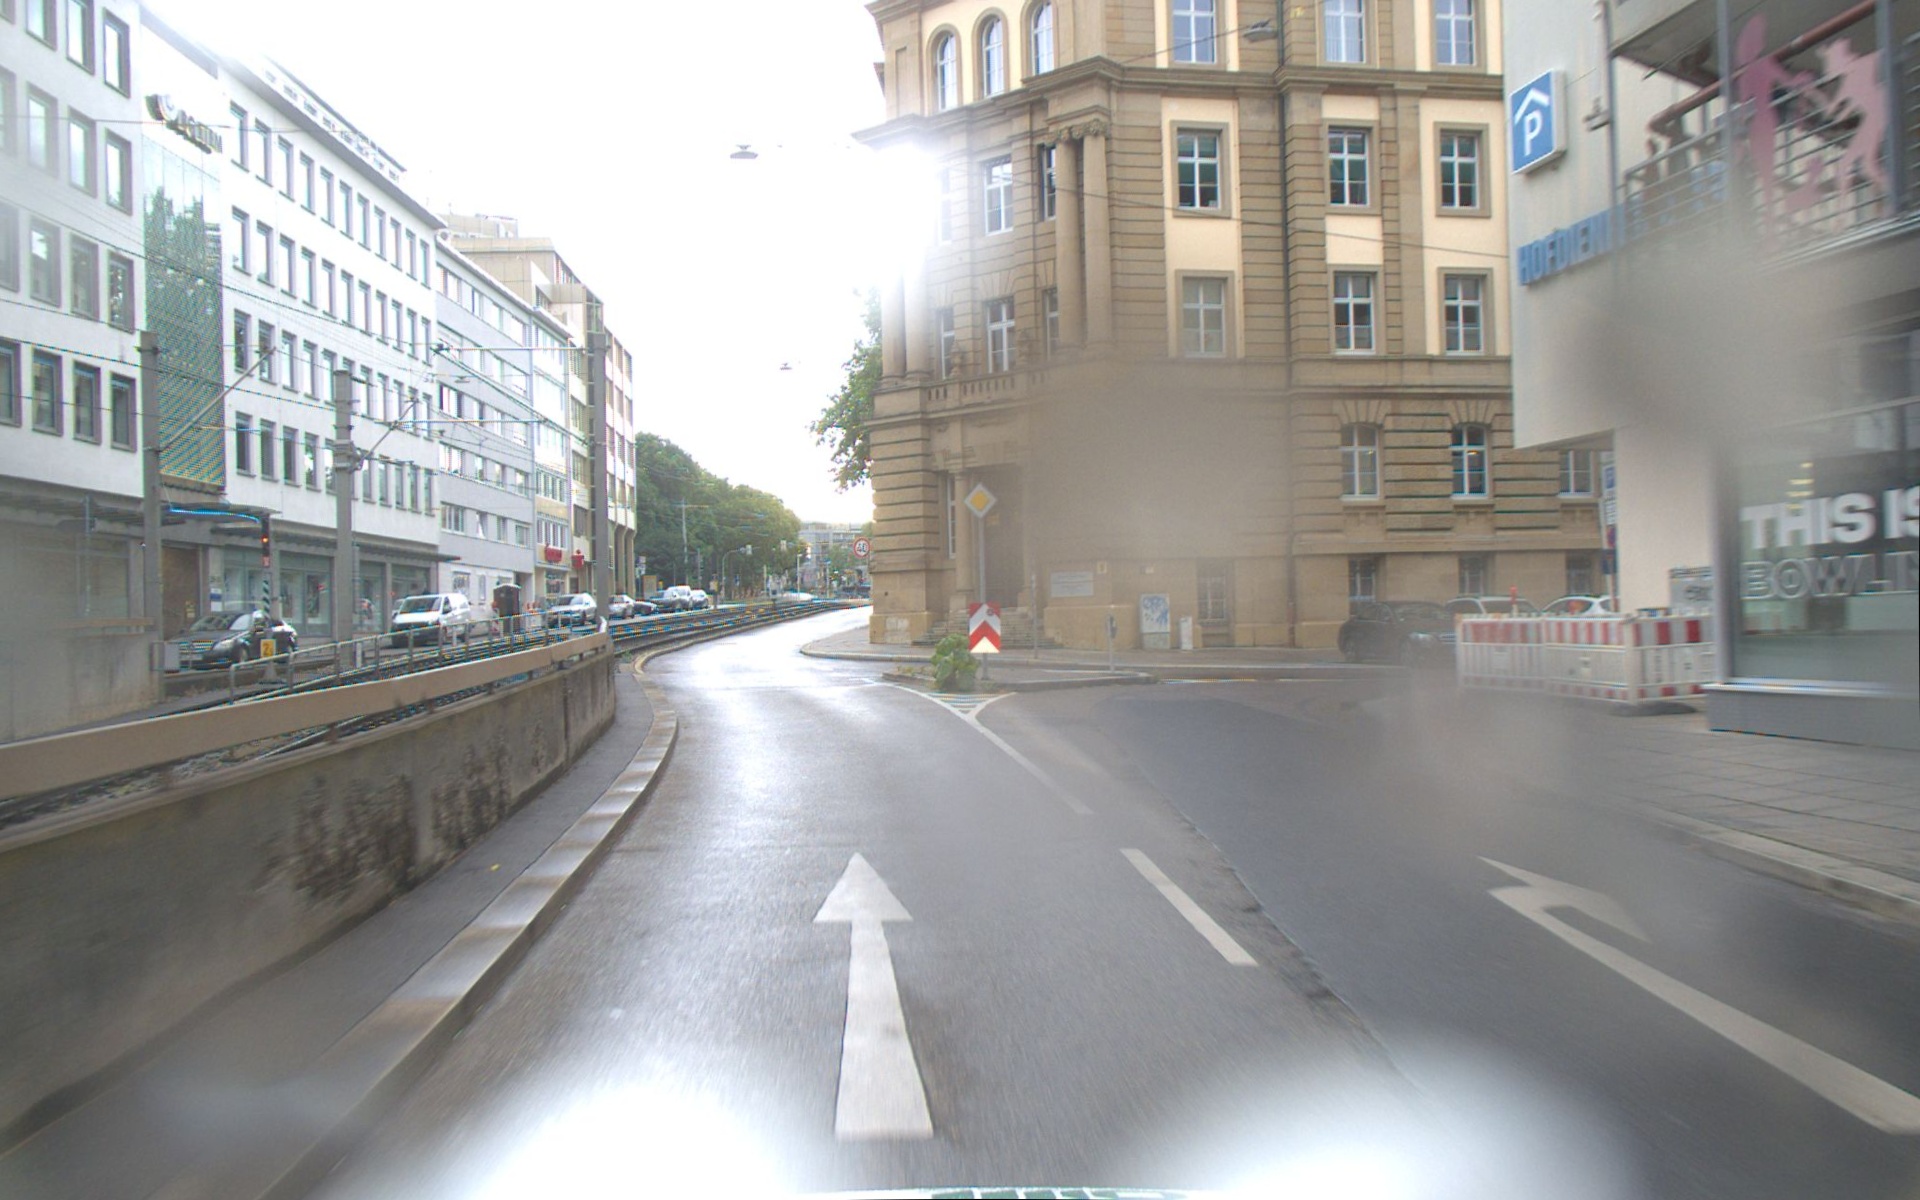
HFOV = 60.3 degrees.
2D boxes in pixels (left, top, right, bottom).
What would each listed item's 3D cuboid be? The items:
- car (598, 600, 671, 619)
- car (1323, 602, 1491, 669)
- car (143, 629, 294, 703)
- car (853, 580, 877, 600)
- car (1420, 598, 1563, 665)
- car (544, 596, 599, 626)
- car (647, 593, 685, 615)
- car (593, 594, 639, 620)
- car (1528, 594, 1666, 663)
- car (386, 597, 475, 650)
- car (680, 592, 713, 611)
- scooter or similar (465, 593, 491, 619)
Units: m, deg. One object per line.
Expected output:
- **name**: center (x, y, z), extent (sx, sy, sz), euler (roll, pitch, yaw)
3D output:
- **car**: center (-21.087, 0.616, 107.206), extent (4.205, 1.184, 2.002), euler (0, 0, 9)
- **car**: center (9.990, 0.743, 37.389), extent (1.703, 1.391, 4.990), euler (0, 0, -10)
- **car**: center (-17.061, 1.482, 38.254), extent (1.953, 1.554, 3.661), euler (0, 0, -2)
- **car**: center (-8.118, -0.852, 141.747), extent (1.953, 1.691, 3.998), euler (0, 0, -2)
- **car**: center (12.472, 0.691, 39.069), extent (1.700, 1.480, 4.326), euler (0, 0, -5)
- **car**: center (-20.083, 0.559, 85.627), extent (1.953, 1.482, 4.309), euler (0, 0, -2)
- **car**: center (-20.291, 0.242, 114.209), extent (1.953, 1.482, 4.309), euler (0, 0, -2)
- **car**: center (-20.330, 0.390, 97.807), extent (1.953, 1.482, 4.309), euler (0, 0, -2)
- **car**: center (14.918, 0.639, 38.912), extent (1.648, 1.544, 3.573), euler (0, 0, -5)
- **car**: center (-20.055, 0.846, 62.867), extent (1.953, 1.916, 4.925), euler (0, 0, -2)
- **car**: center (-20.132, 0.109, 126.536), extent (1.953, 1.482, 4.309), euler (0, 0, -2)
- **scooter or similar**: center (-23.484, 0.293, 80.649), extent (0.749, 1.241, 2.064), euler (0, 0, -2)
